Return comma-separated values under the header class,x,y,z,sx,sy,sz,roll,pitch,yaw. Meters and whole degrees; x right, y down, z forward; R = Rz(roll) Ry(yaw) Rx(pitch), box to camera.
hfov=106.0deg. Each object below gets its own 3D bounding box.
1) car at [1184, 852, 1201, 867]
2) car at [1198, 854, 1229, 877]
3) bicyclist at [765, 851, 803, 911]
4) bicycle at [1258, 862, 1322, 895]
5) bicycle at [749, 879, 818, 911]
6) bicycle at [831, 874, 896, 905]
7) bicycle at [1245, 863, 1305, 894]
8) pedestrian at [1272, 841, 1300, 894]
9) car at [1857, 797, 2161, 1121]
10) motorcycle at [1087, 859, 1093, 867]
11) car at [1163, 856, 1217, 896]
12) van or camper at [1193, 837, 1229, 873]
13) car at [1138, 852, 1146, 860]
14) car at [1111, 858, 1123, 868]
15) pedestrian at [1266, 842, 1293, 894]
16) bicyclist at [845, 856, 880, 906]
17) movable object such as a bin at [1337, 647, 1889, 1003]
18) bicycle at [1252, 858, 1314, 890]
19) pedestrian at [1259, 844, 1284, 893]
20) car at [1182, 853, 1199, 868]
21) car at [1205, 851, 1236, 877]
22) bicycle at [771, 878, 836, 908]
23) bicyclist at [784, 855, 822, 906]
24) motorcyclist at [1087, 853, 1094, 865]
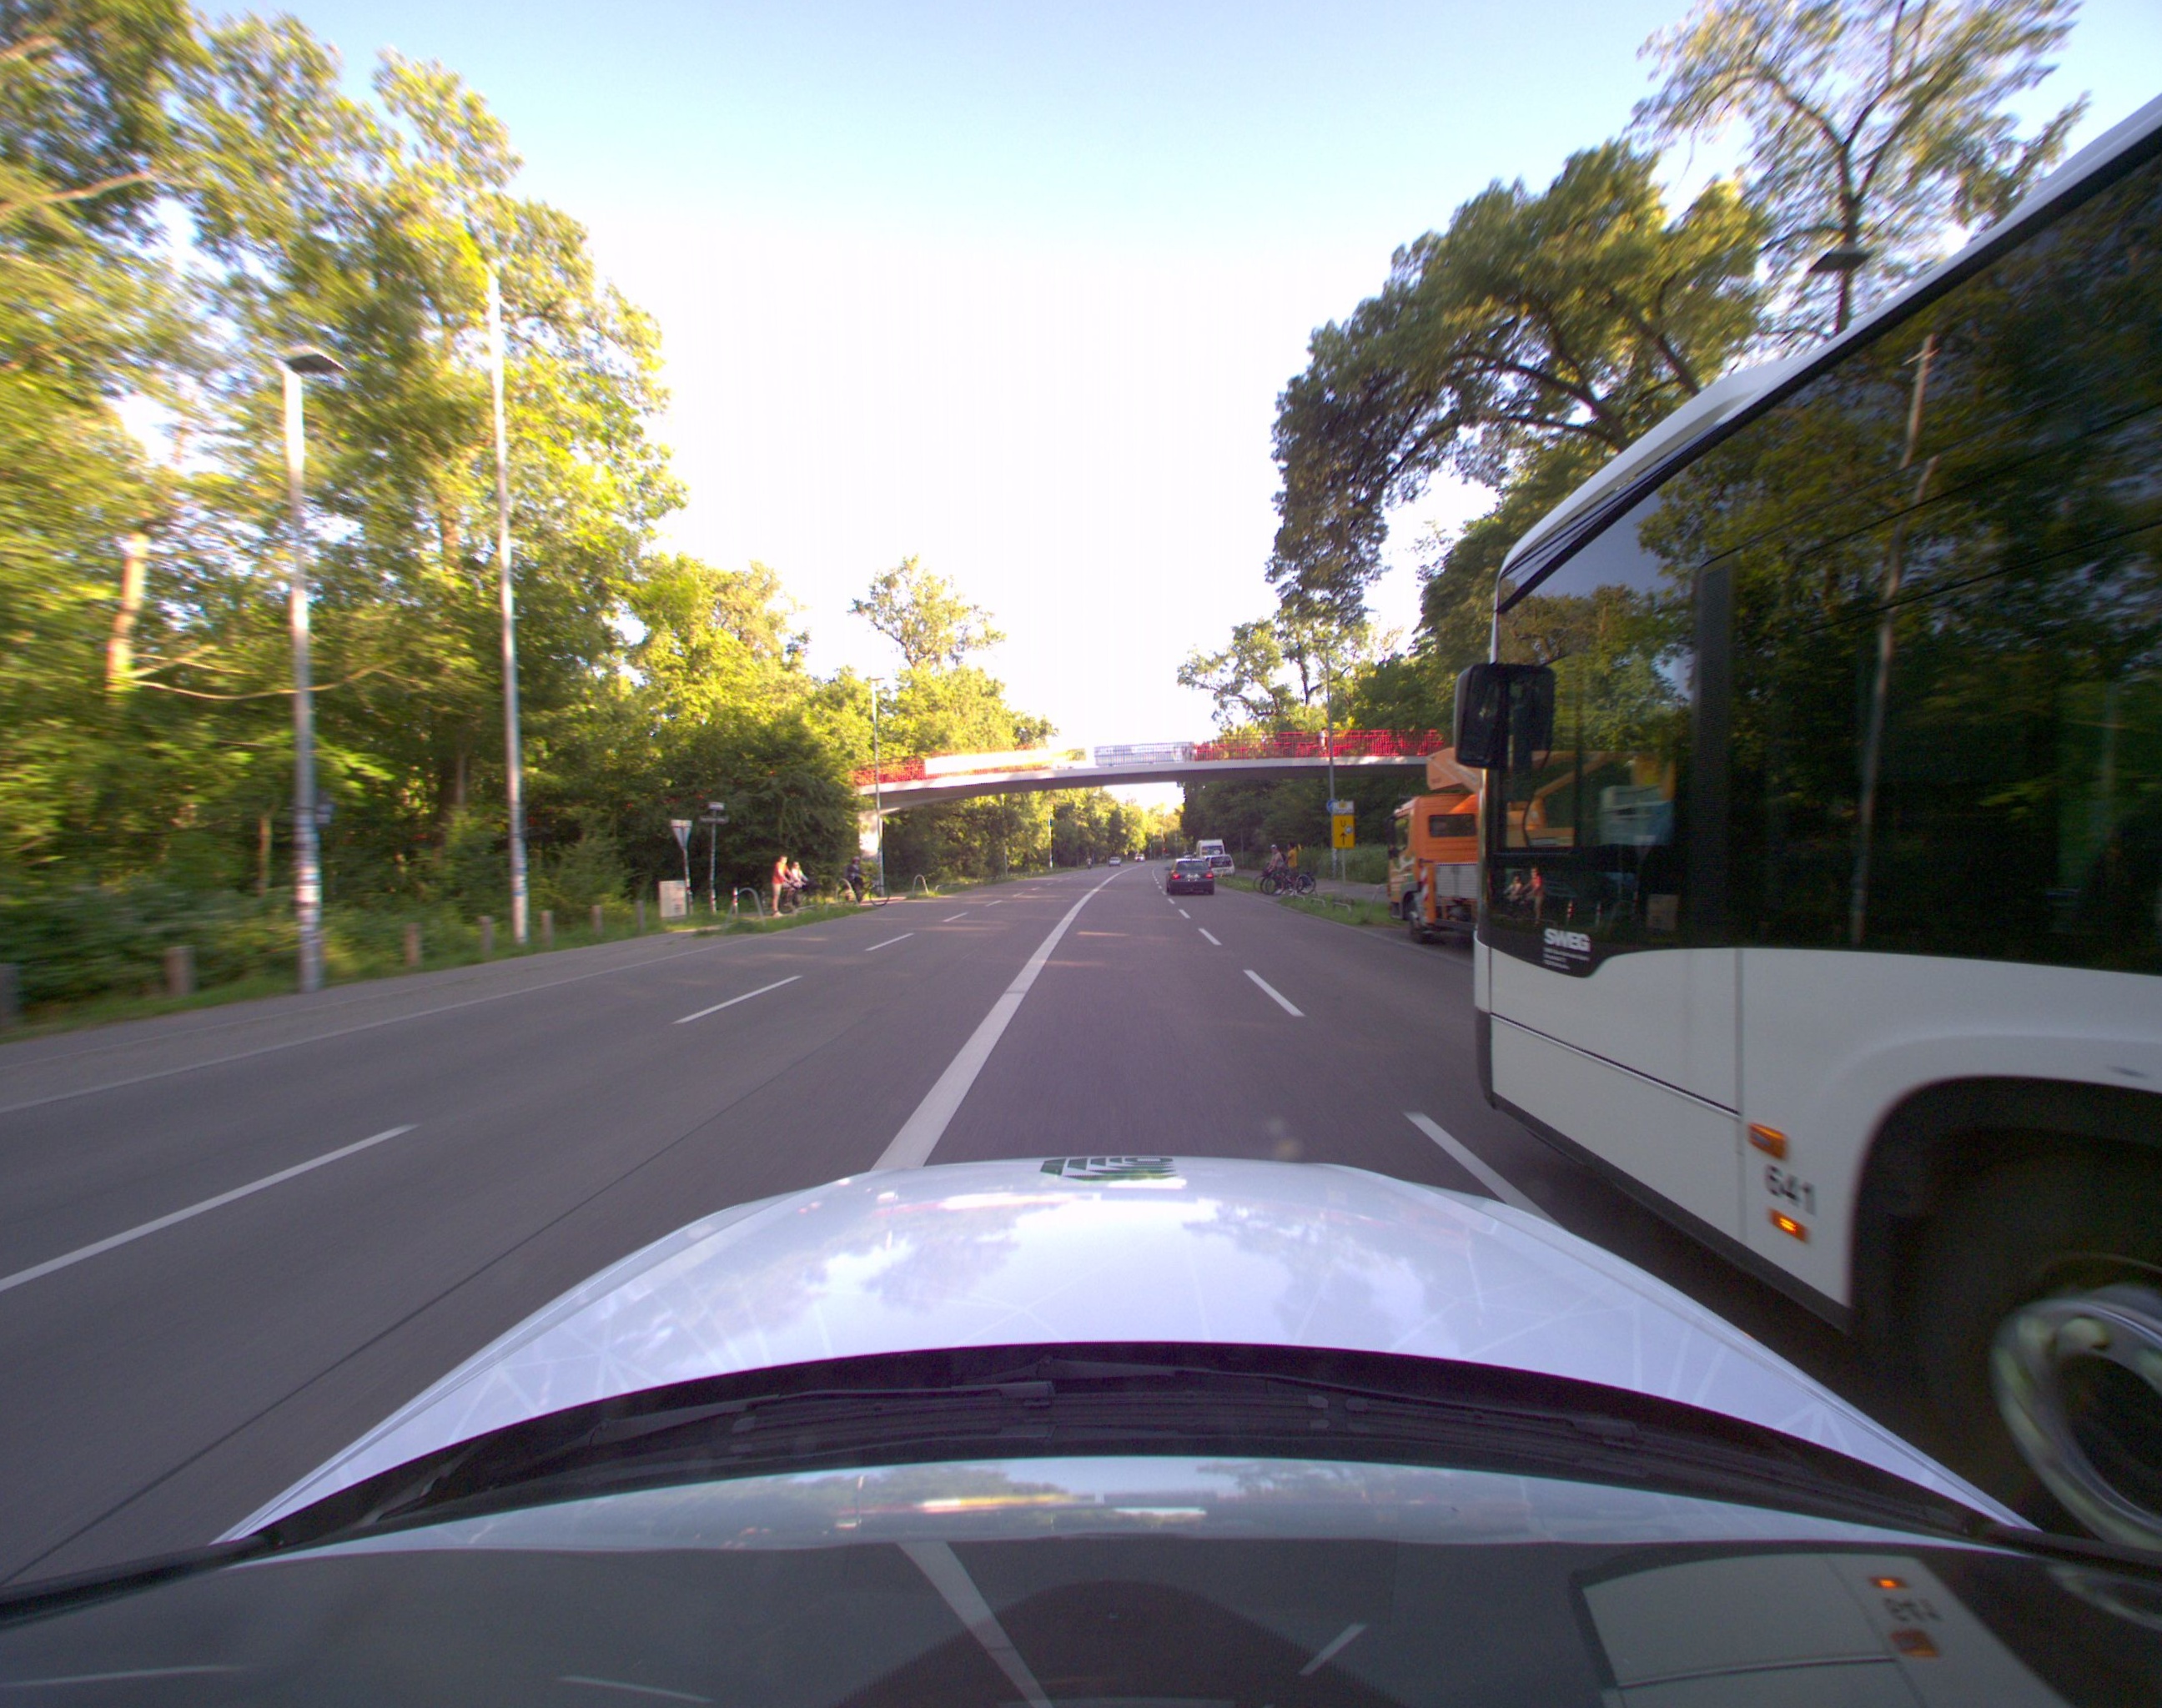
class,x,y,z,sx,sy,sz,roll,pitch,yaw
car,11.883,0.585,86.856,1.718,1.441,4.108,-2,0,7
car,8.955,0.744,55.299,1.715,1.496,4.151,-2,0,5
bicyclist,-9.703,0.874,26.663,0.790,1.901,0.820,-2,0,12
bicycle,7.456,0.873,29.103,2.055,1.068,0.870,-2,0,-1
bicycle,-9.726,1.351,26.659,1.914,0.934,0.827,-3,0,12
bicycle,-7.268,1.189,27.250,1.914,0.934,0.827,-2,0,12
bicycle,7.418,0.929,31.206,2.055,1.068,0.870,-2,0,-1
pedestrian,7.336,0.472,29.117,0.697,1.852,0.938,-2,0,-1
car,6.099,0.487,3.441,1.722,1.574,4.089,-2,0,0
motorcycle,1.161,1.103,101.832,0.633,0.995,2.079,-1,0,4
car,4.261,0.822,32.436,1.721,1.441,4.091,-1,0,2
van or camper,9.770,0.087,61.570,2.109,2.517,5.986,-2,0,4
car,15.366,0.590,204.905,1.983,1.992,5.006,-2,0,6
car,5.523,1.380,125.060,1.674,1.407,3.894,-2,0,4
pedestrian,7.344,0.508,30.099,0.697,1.852,0.938,-2,0,-1
bicyclist,-7.292,0.891,27.259,0.790,1.643,0.844,-2,0,12
movable object such as a bin,6.368,-0.299,11.694,2.751,3.370,7.596,-2,0,-1
bicycle,7.440,0.734,30.062,2.055,1.068,0.870,-2,0,-1
pedestrian,7.291,0.542,31.213,0.697,1.852,0.938,-2,0,-1
car,12.346,0.722,91.989,1.718,1.544,4.225,-2,0,7
car,8.600,0.604,50.408,1.714,1.496,3.782,-2,0,7
bicycle,-9.498,1.329,27.872,1.914,0.934,0.827,-2,0,12
bicyclist,-9.495,0.904,27.858,0.790,1.697,0.948,-2,0,12
motorcyclist,1.161,0.659,101.829,0.721,1.505,0.672,-2,-1,4
